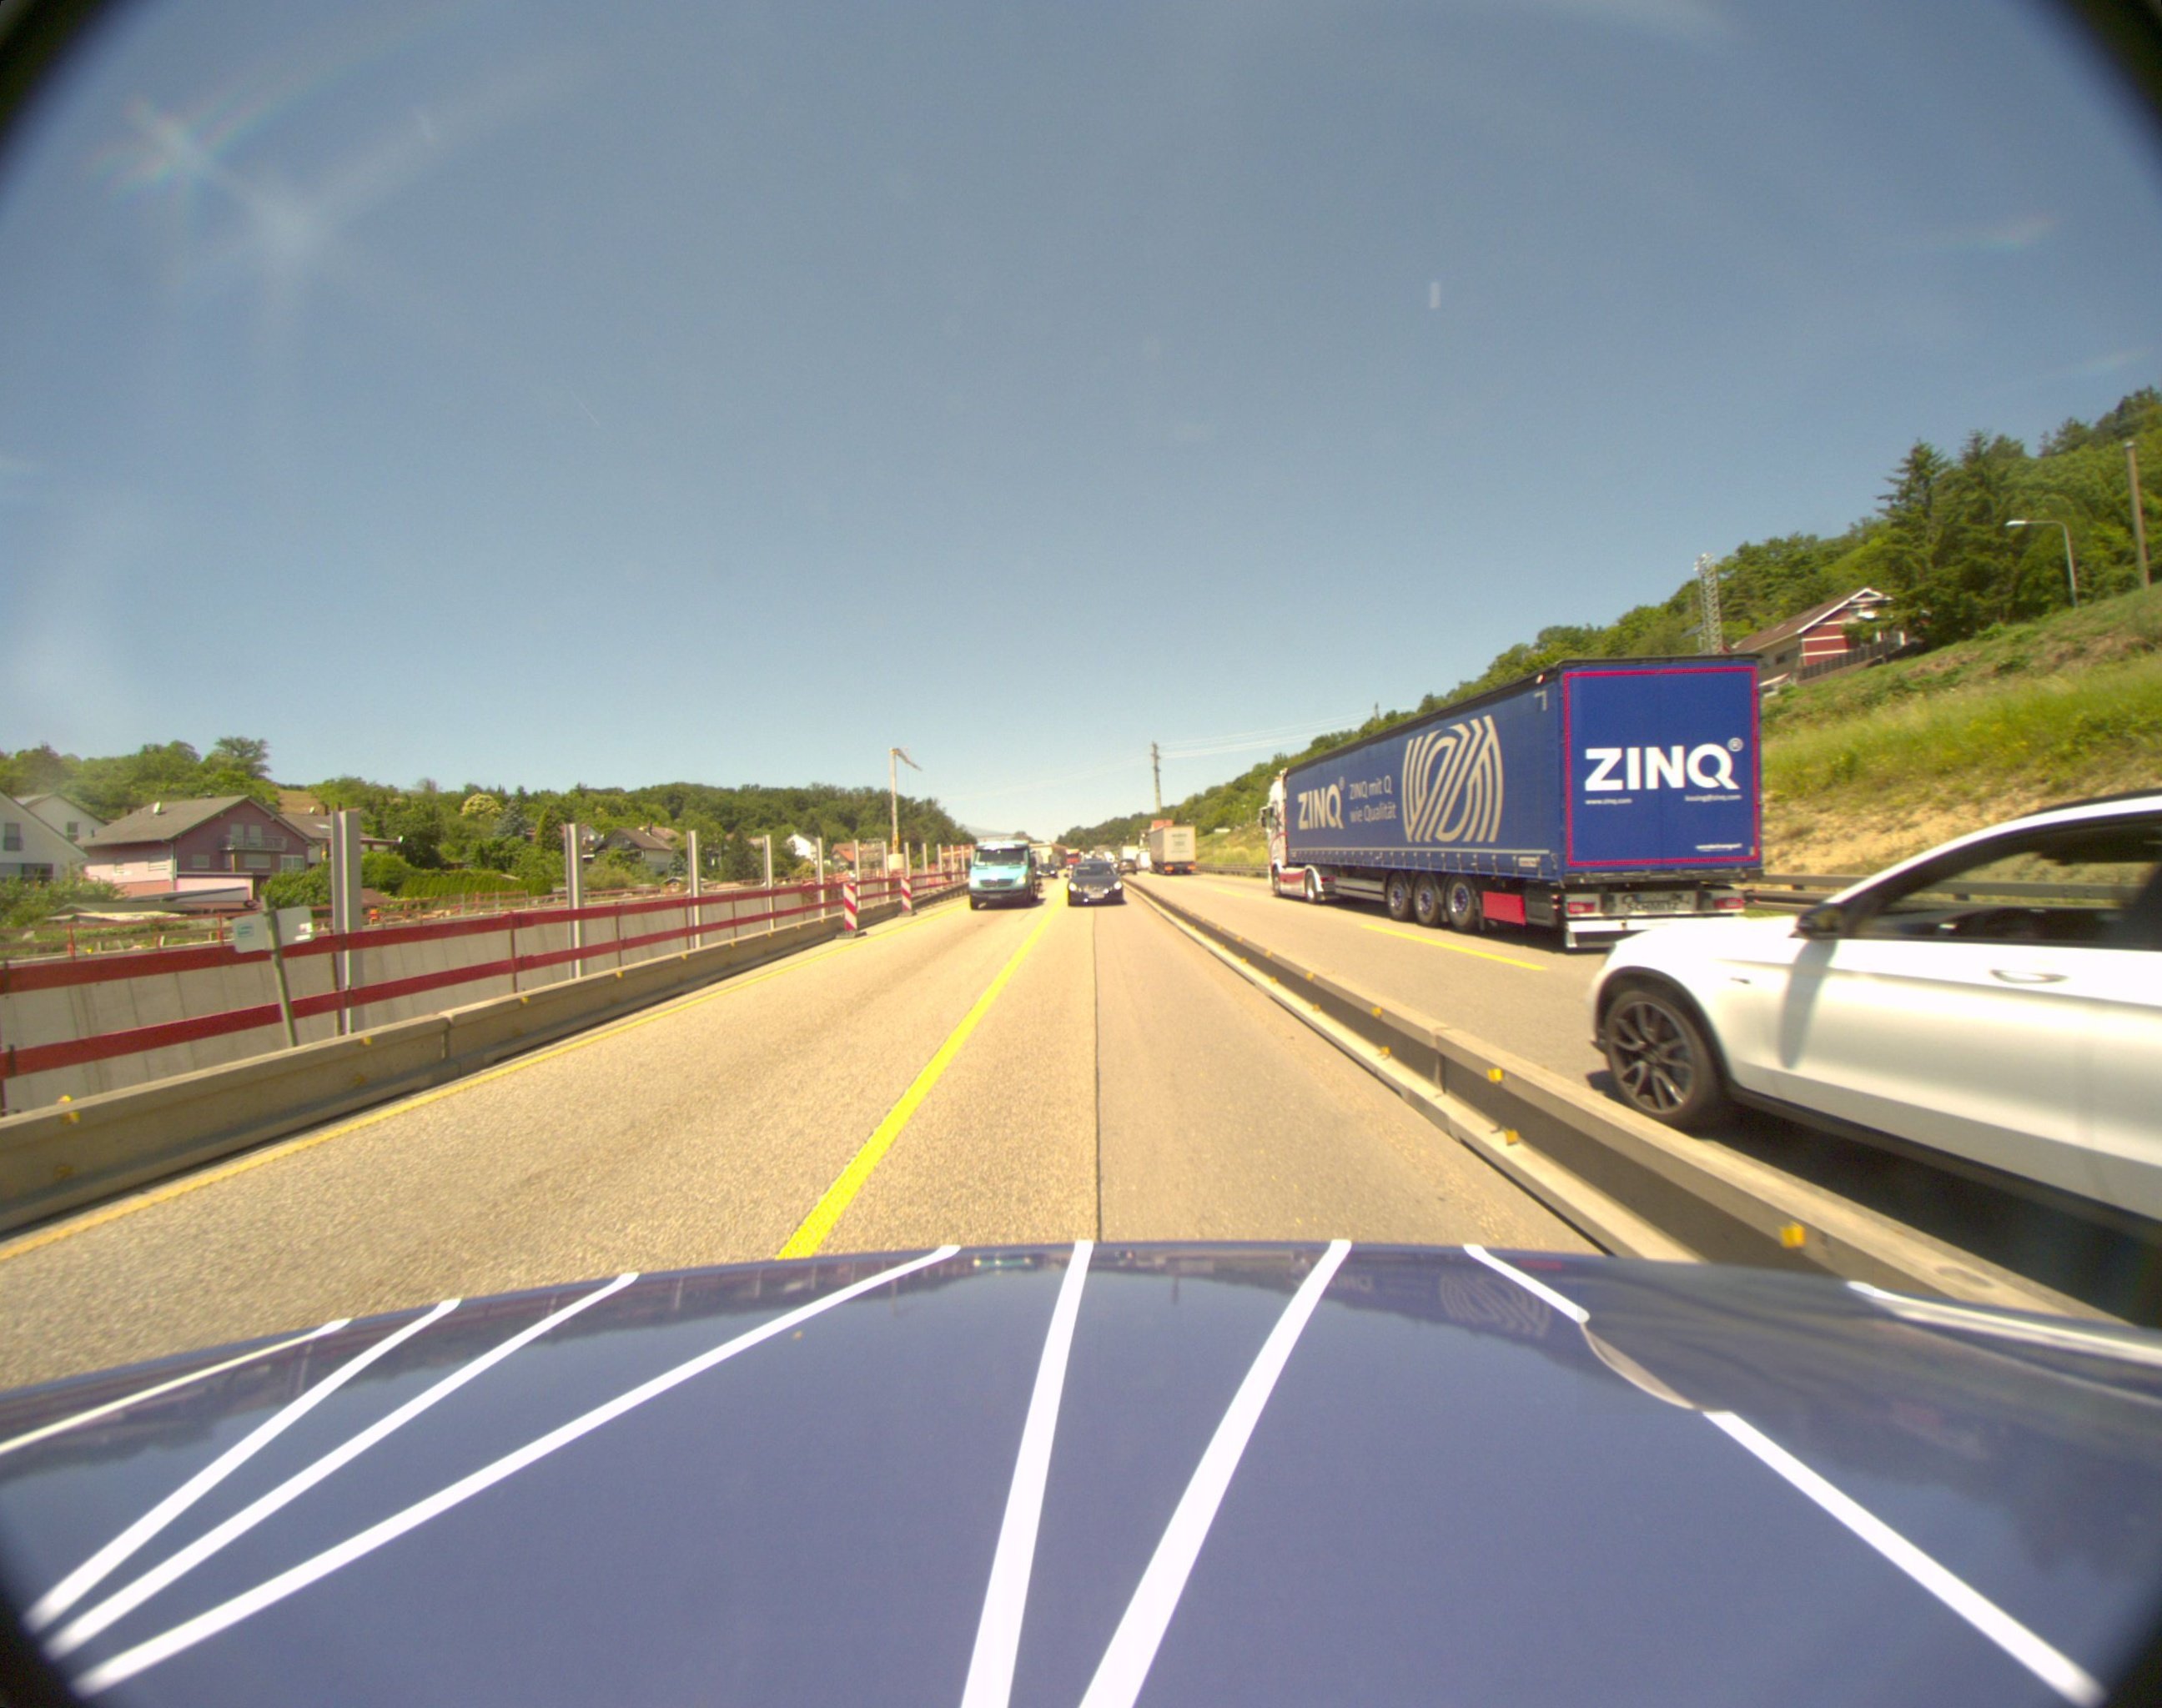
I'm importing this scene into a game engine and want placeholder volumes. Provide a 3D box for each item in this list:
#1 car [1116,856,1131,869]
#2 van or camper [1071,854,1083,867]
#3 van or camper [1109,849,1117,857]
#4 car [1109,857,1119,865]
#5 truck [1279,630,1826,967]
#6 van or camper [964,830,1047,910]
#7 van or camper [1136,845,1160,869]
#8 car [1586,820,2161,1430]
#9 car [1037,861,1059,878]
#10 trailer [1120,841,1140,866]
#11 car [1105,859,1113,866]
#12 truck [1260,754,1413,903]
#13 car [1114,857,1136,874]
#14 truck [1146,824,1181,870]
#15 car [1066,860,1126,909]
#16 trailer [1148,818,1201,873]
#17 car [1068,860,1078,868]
[{"bbox_3d":[5.338,1.075,95.777,1.633,1.470,3.380,-3,0,0],"label":"car"},{"bbox_3d":[-0.817,1.381,156.234,2.321,2.513,4.528,-4,0,1],"label":"van or camper"},{"bbox_3d":[10.620,-0.205,250.803,2.382,2.634,6.052,-2,0,1],"label":"van or camper"},{"bbox_3d":[6.503,1.401,150.776,1.772,1.354,4.411,-2,0,0],"label":"car"},{"bbox_3d":[7.766,-0.702,16.562,3.251,4.135,13.977,-2,0,0],"label":"truck"},{"bbox_3d":[-2.558,0.538,27.832,2.097,2.458,7.672,-2,0,1],"label":"van or camper"},{"bbox_3d":[8.420,0.394,96.053,2.340,2.761,7.517,-2,0,0],"label":"van or camper"},{"bbox_3d":[3.775,0.697,2.109,1.817,1.628,4.362,-2,0,0],"label":"car"},{"bbox_3d":[-2.858,1.317,66.709,1.611,1.324,3.496,-4,0,1],"label":"car"},{"bbox_3d":[8.912,-0.048,139.428,2.864,4.100,13.438,-2,0,0],"label":"trailer"},{"bbox_3d":[6.279,1.904,171.091,1.758,1.499,4.000,-4,0,1],"label":"car"},{"bbox_3d":[7.804,-0.720,23.830,3.247,4.135,4.247,-2,0,0],"label":"truck"},{"bbox_3d":[4.175,1.071,72.322,1.853,1.577,4.174,-3,0,0],"label":"car"},{"bbox_3d":[8.065,-0.634,74.734,2.781,4.261,4.676,-3,0,0],"label":"truck"},{"bbox_3d":[0.475,0.945,24.951,1.746,1.420,4.000,-2,0,1],"label":"car"},{"bbox_3d":[8.053,-0.639,67.519,2.817,4.261,14.035,-3,0,0],"label":"trailer"},{"bbox_3d":[-1.433,1.742,138.135,1.679,1.346,3.487,-4,0,1],"label":"car"}]
